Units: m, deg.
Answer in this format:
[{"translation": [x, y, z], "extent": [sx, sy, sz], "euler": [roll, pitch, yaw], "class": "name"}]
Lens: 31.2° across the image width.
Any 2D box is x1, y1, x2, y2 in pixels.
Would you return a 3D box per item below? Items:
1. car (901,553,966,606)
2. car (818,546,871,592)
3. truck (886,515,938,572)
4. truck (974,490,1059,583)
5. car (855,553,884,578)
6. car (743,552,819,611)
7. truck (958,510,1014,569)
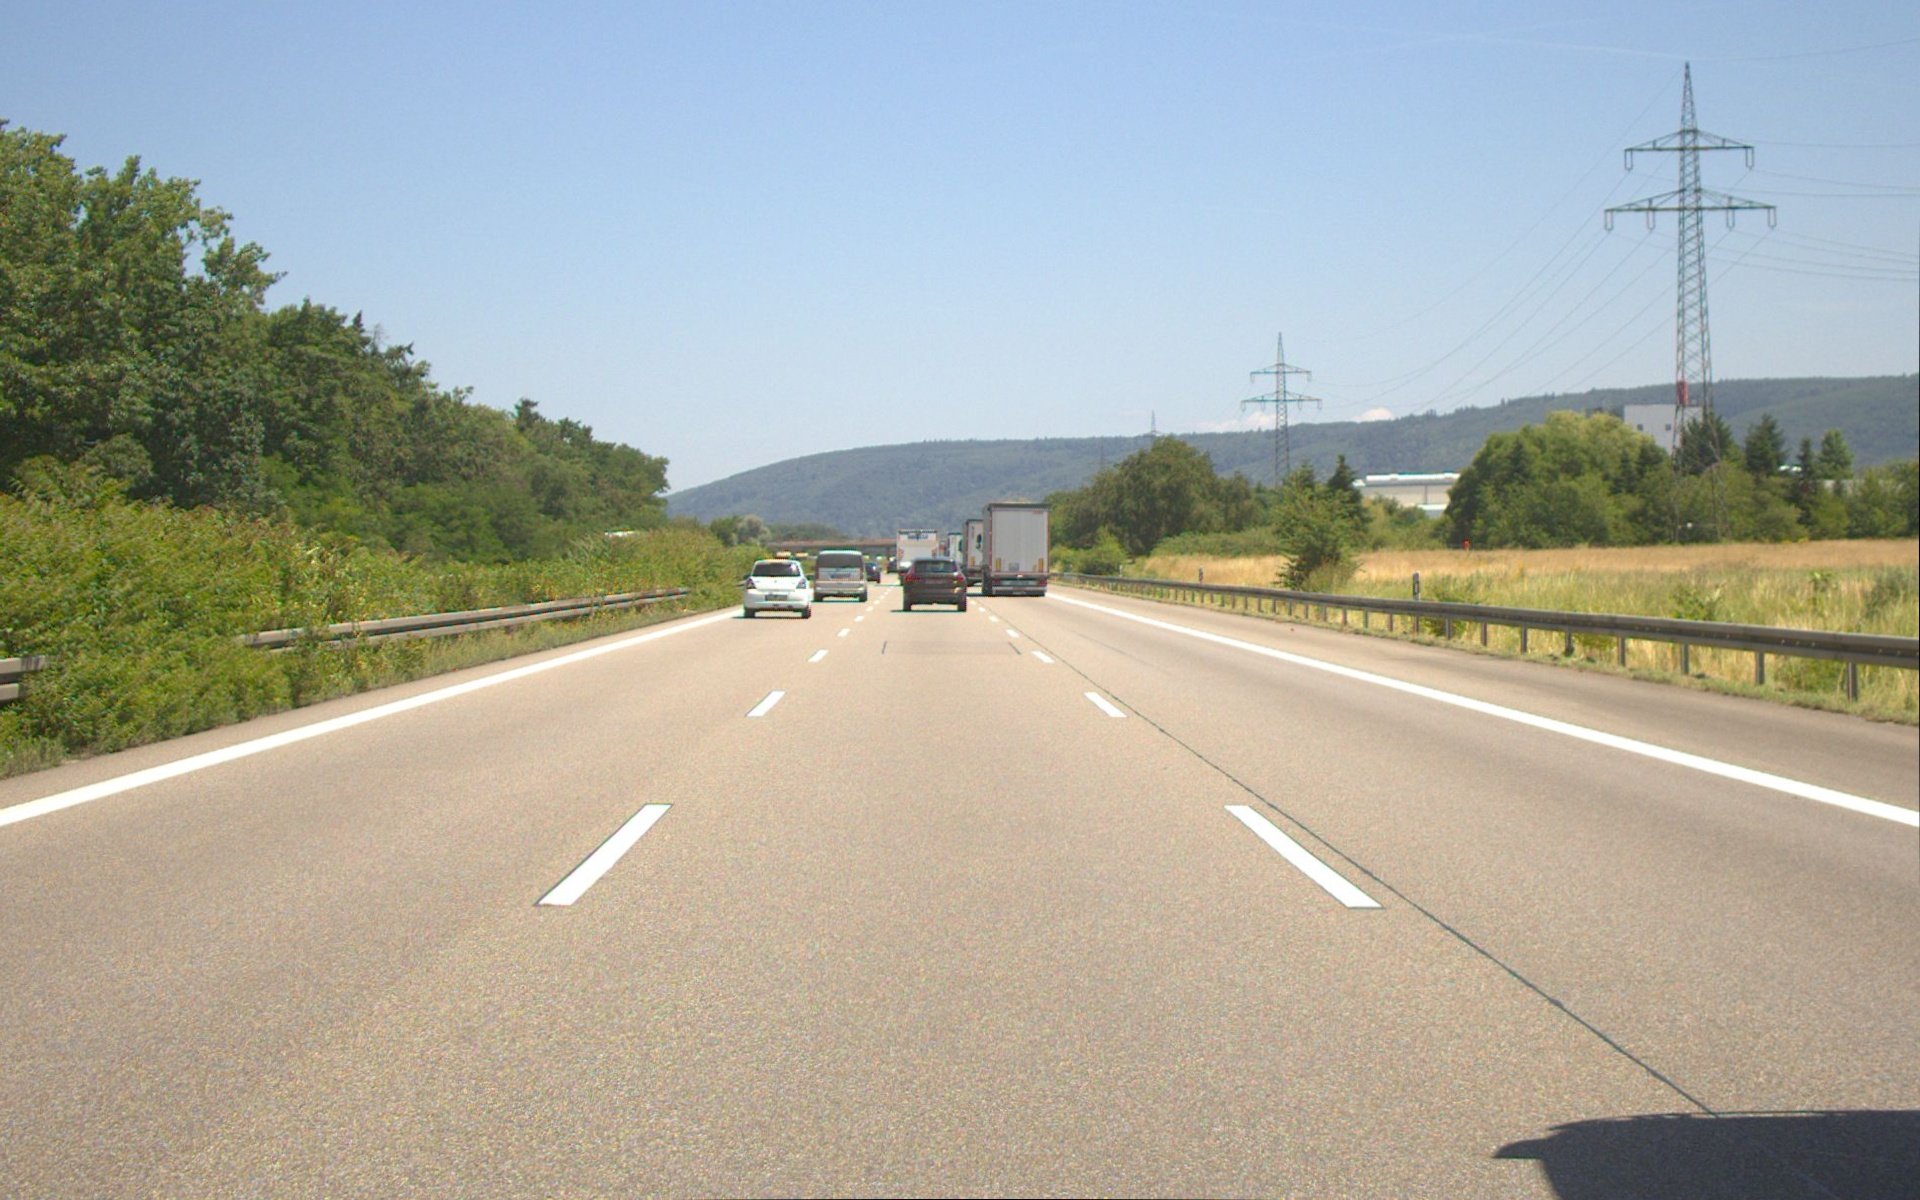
[{"translation": [-0.798, -0.634, 103.231], "extent": [1.885, 1.510, 4.000], "euler": [1, 1, -1], "class": "car"}, {"translation": [-4.241, -1.157, 126.647], "extent": [1.852, 1.627, 4.000], "euler": [1, 1, -1], "class": "car"}, {"translation": [-3.060, -3.593, 216.846], "extent": [3.097, 3.462, 11.543], "euler": [1, 1, -1], "class": "truck"}, {"translation": [2.429, -2.797, 151.395], "extent": [3.265, 3.844, 11.632], "euler": [1, 1, -1], "class": "truck"}, {"translation": [-6.065, -2.324, 231.682], "extent": [1.852, 1.627, 4.000], "euler": [1, 1, -1], "class": "car"}, {"translation": [-4.648, -0.491, 89.704], "extent": [1.806, 1.463, 4.000], "euler": [1, 1, -1], "class": "car"}, {"translation": [1.540, -3.727, 211.080], "extent": [3.097, 3.462, 11.543], "euler": [1, 1, -1], "class": "truck"}]
